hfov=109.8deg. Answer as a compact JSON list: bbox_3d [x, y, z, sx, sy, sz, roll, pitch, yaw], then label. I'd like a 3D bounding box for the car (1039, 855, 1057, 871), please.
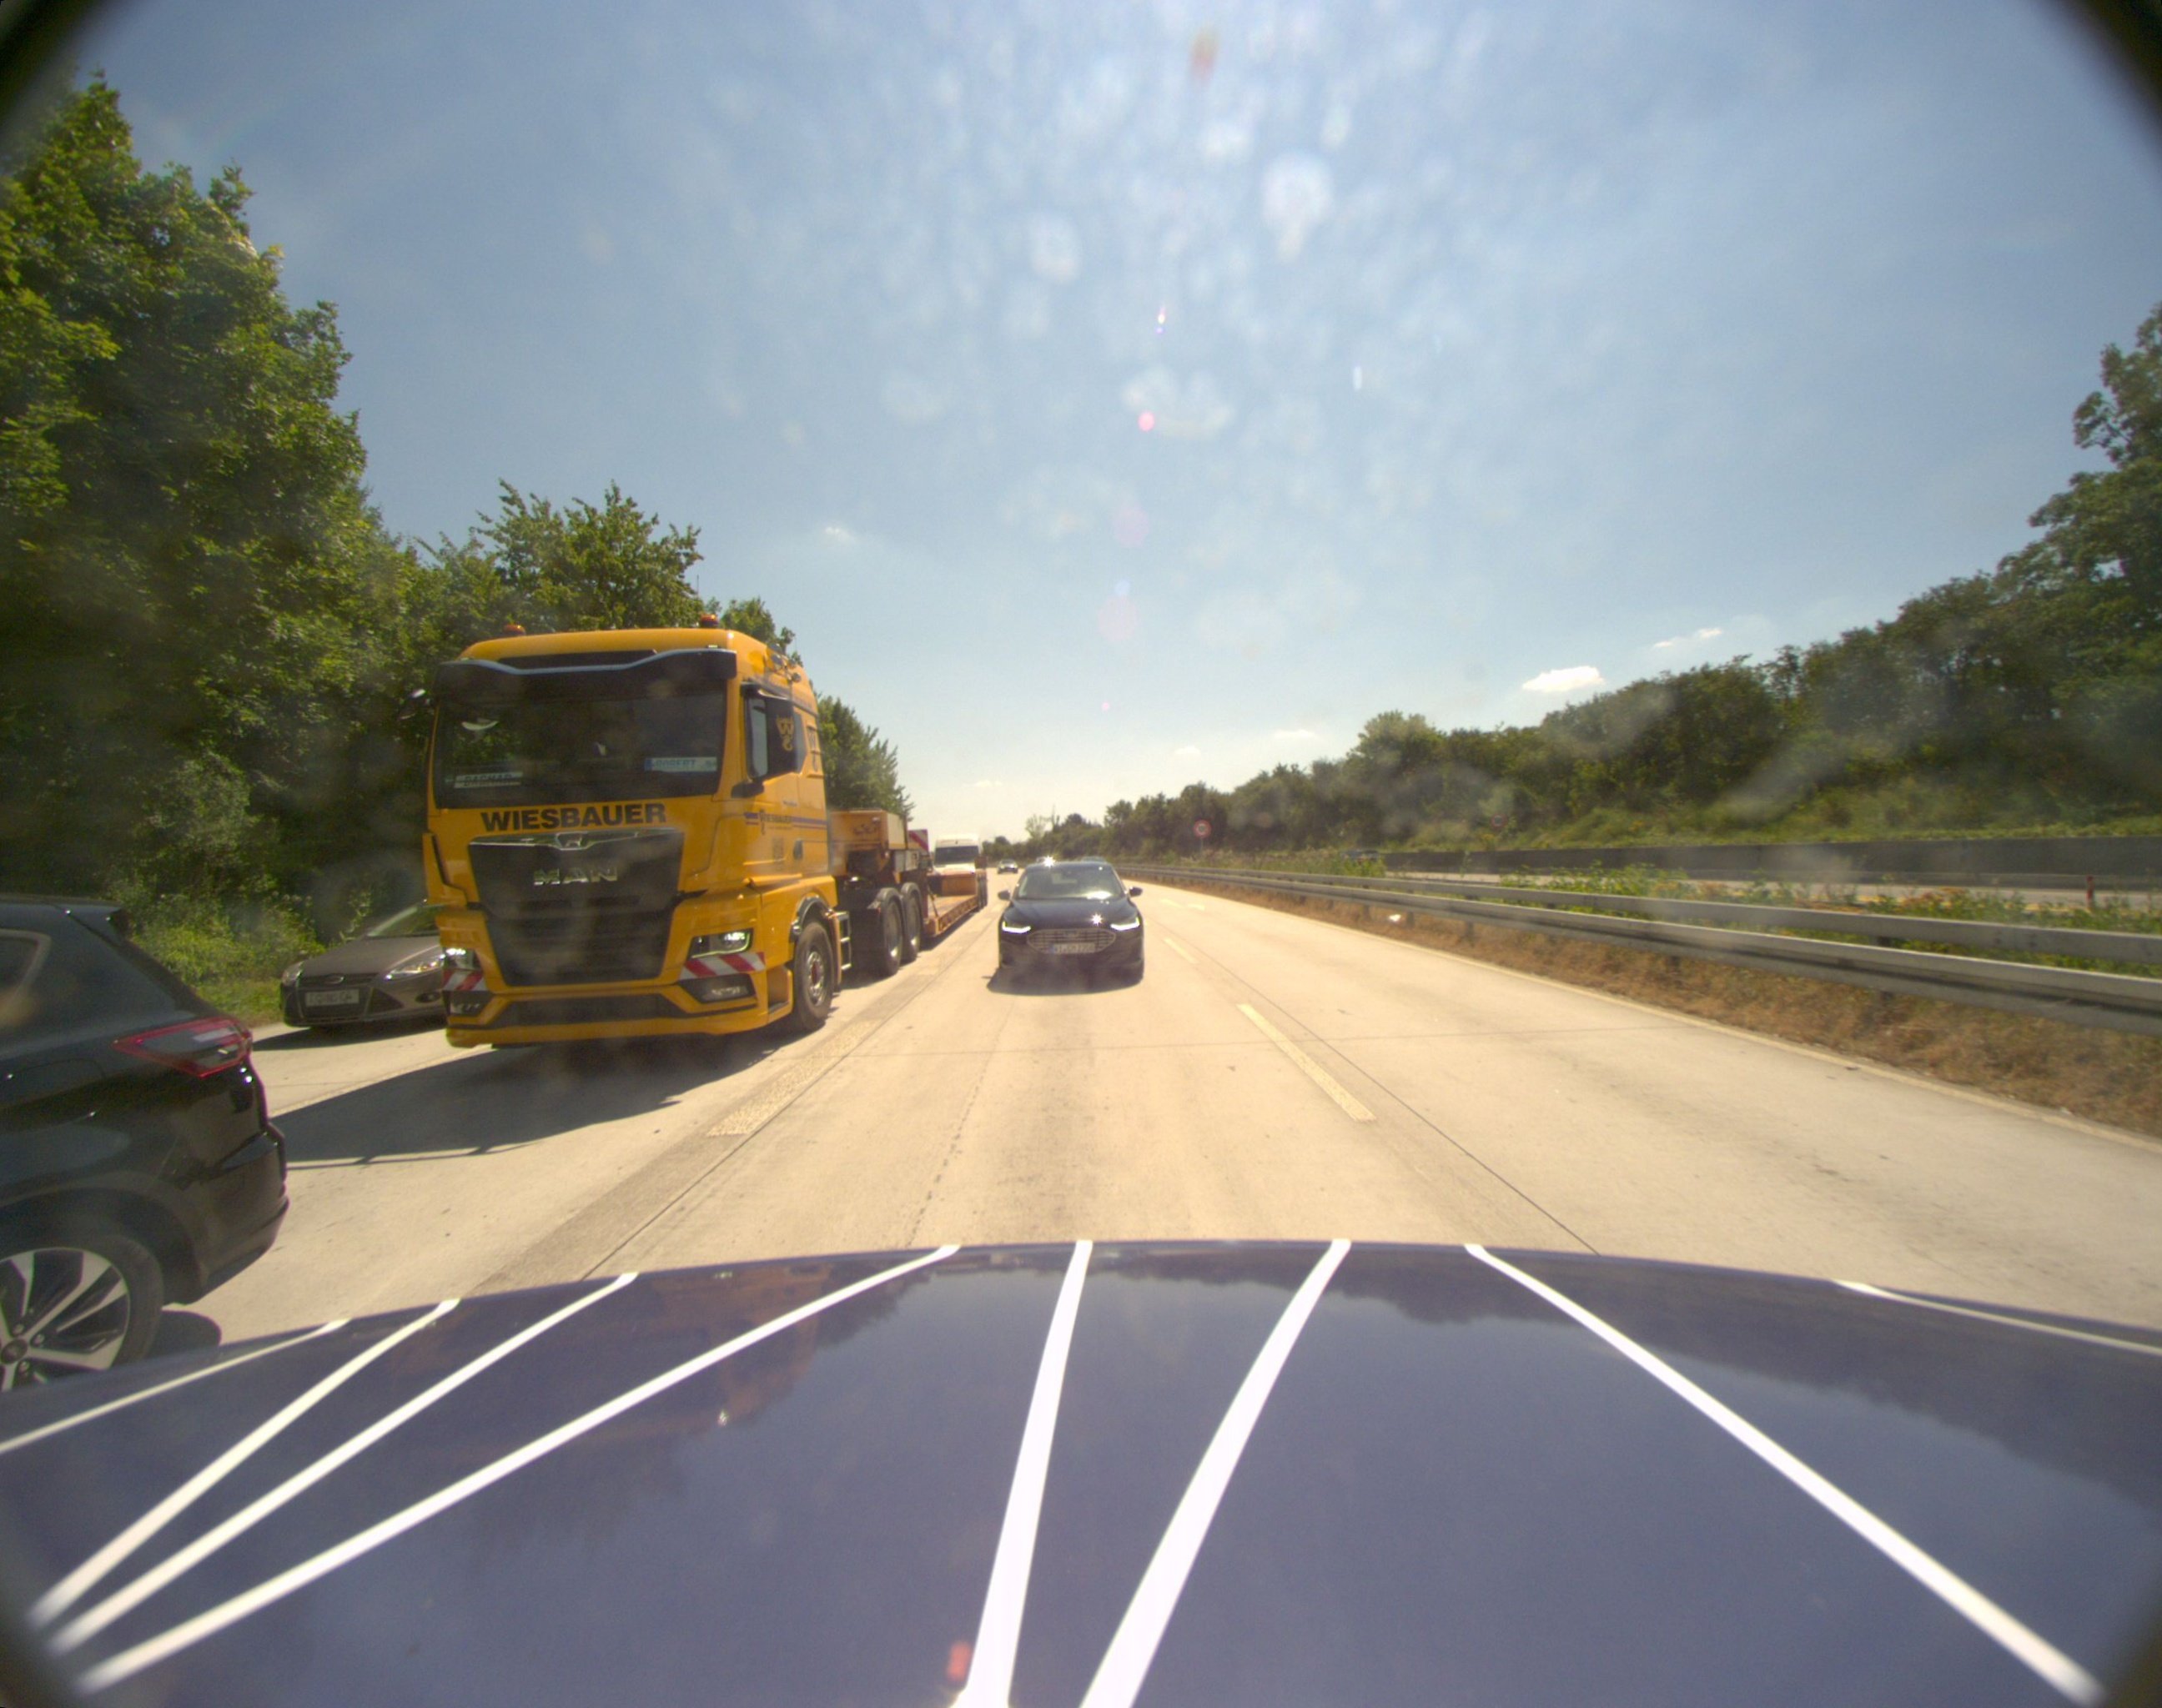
[{"bbox_3d":[-3.339,0.923,77.440,1.706,1.456,3.998,-2,1,-4],"label":"car"}]

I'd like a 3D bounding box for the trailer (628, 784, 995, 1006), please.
[{"bbox_3d":[-4.192,0.486,17.414,3.035,2.578,16.352,-2,0,-2],"label":"trailer"}]

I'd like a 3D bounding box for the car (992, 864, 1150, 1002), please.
[{"bbox_3d":[-0.141,0.926,10.759,1.731,1.430,4.303,-2,0,-1],"label":"car"}]

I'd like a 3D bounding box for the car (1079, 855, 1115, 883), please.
[{"bbox_3d":[0.862,0.839,44.358,1.628,1.476,3.998,-2,1,-5],"label":"car"}]

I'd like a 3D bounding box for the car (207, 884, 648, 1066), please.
[{"bbox_3d":[-7.503,1.246,9.477,1.772,1.454,4.363,-2,1,-2],"label":"car"}]

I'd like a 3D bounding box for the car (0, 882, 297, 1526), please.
[{"bbox_3d":[-3.696,0.975,0.358,1.788,1.630,4.646,-2,1,-1],"label":"car"}]

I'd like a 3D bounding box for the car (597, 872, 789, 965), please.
[{"bbox_3d":[-7.806,1.199,15.851,1.772,1.454,4.596,-2,1,-3],"label":"car"}]

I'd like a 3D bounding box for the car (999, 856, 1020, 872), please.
[{"bbox_3d":[-7.182,1.003,76.761,1.891,1.456,3.998,-2,1,-4],"label":"car"}]

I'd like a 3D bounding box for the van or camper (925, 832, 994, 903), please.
[{"bbox_3d":[-4.840,0.461,31.109,2.069,2.559,5.905,-2,1,-3],"label":"van or camper"}]

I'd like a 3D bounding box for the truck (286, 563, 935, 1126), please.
[{"bbox_3d":[-3.911,-0.104,8.954,3.022,3.751,7.467,-2,1,-2],"label":"truck"}]

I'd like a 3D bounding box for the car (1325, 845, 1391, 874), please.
[{"bbox_3d":[15.477,0.252,42.644,1.717,1.476,4.291,-2,1,-6],"label":"car"}]
